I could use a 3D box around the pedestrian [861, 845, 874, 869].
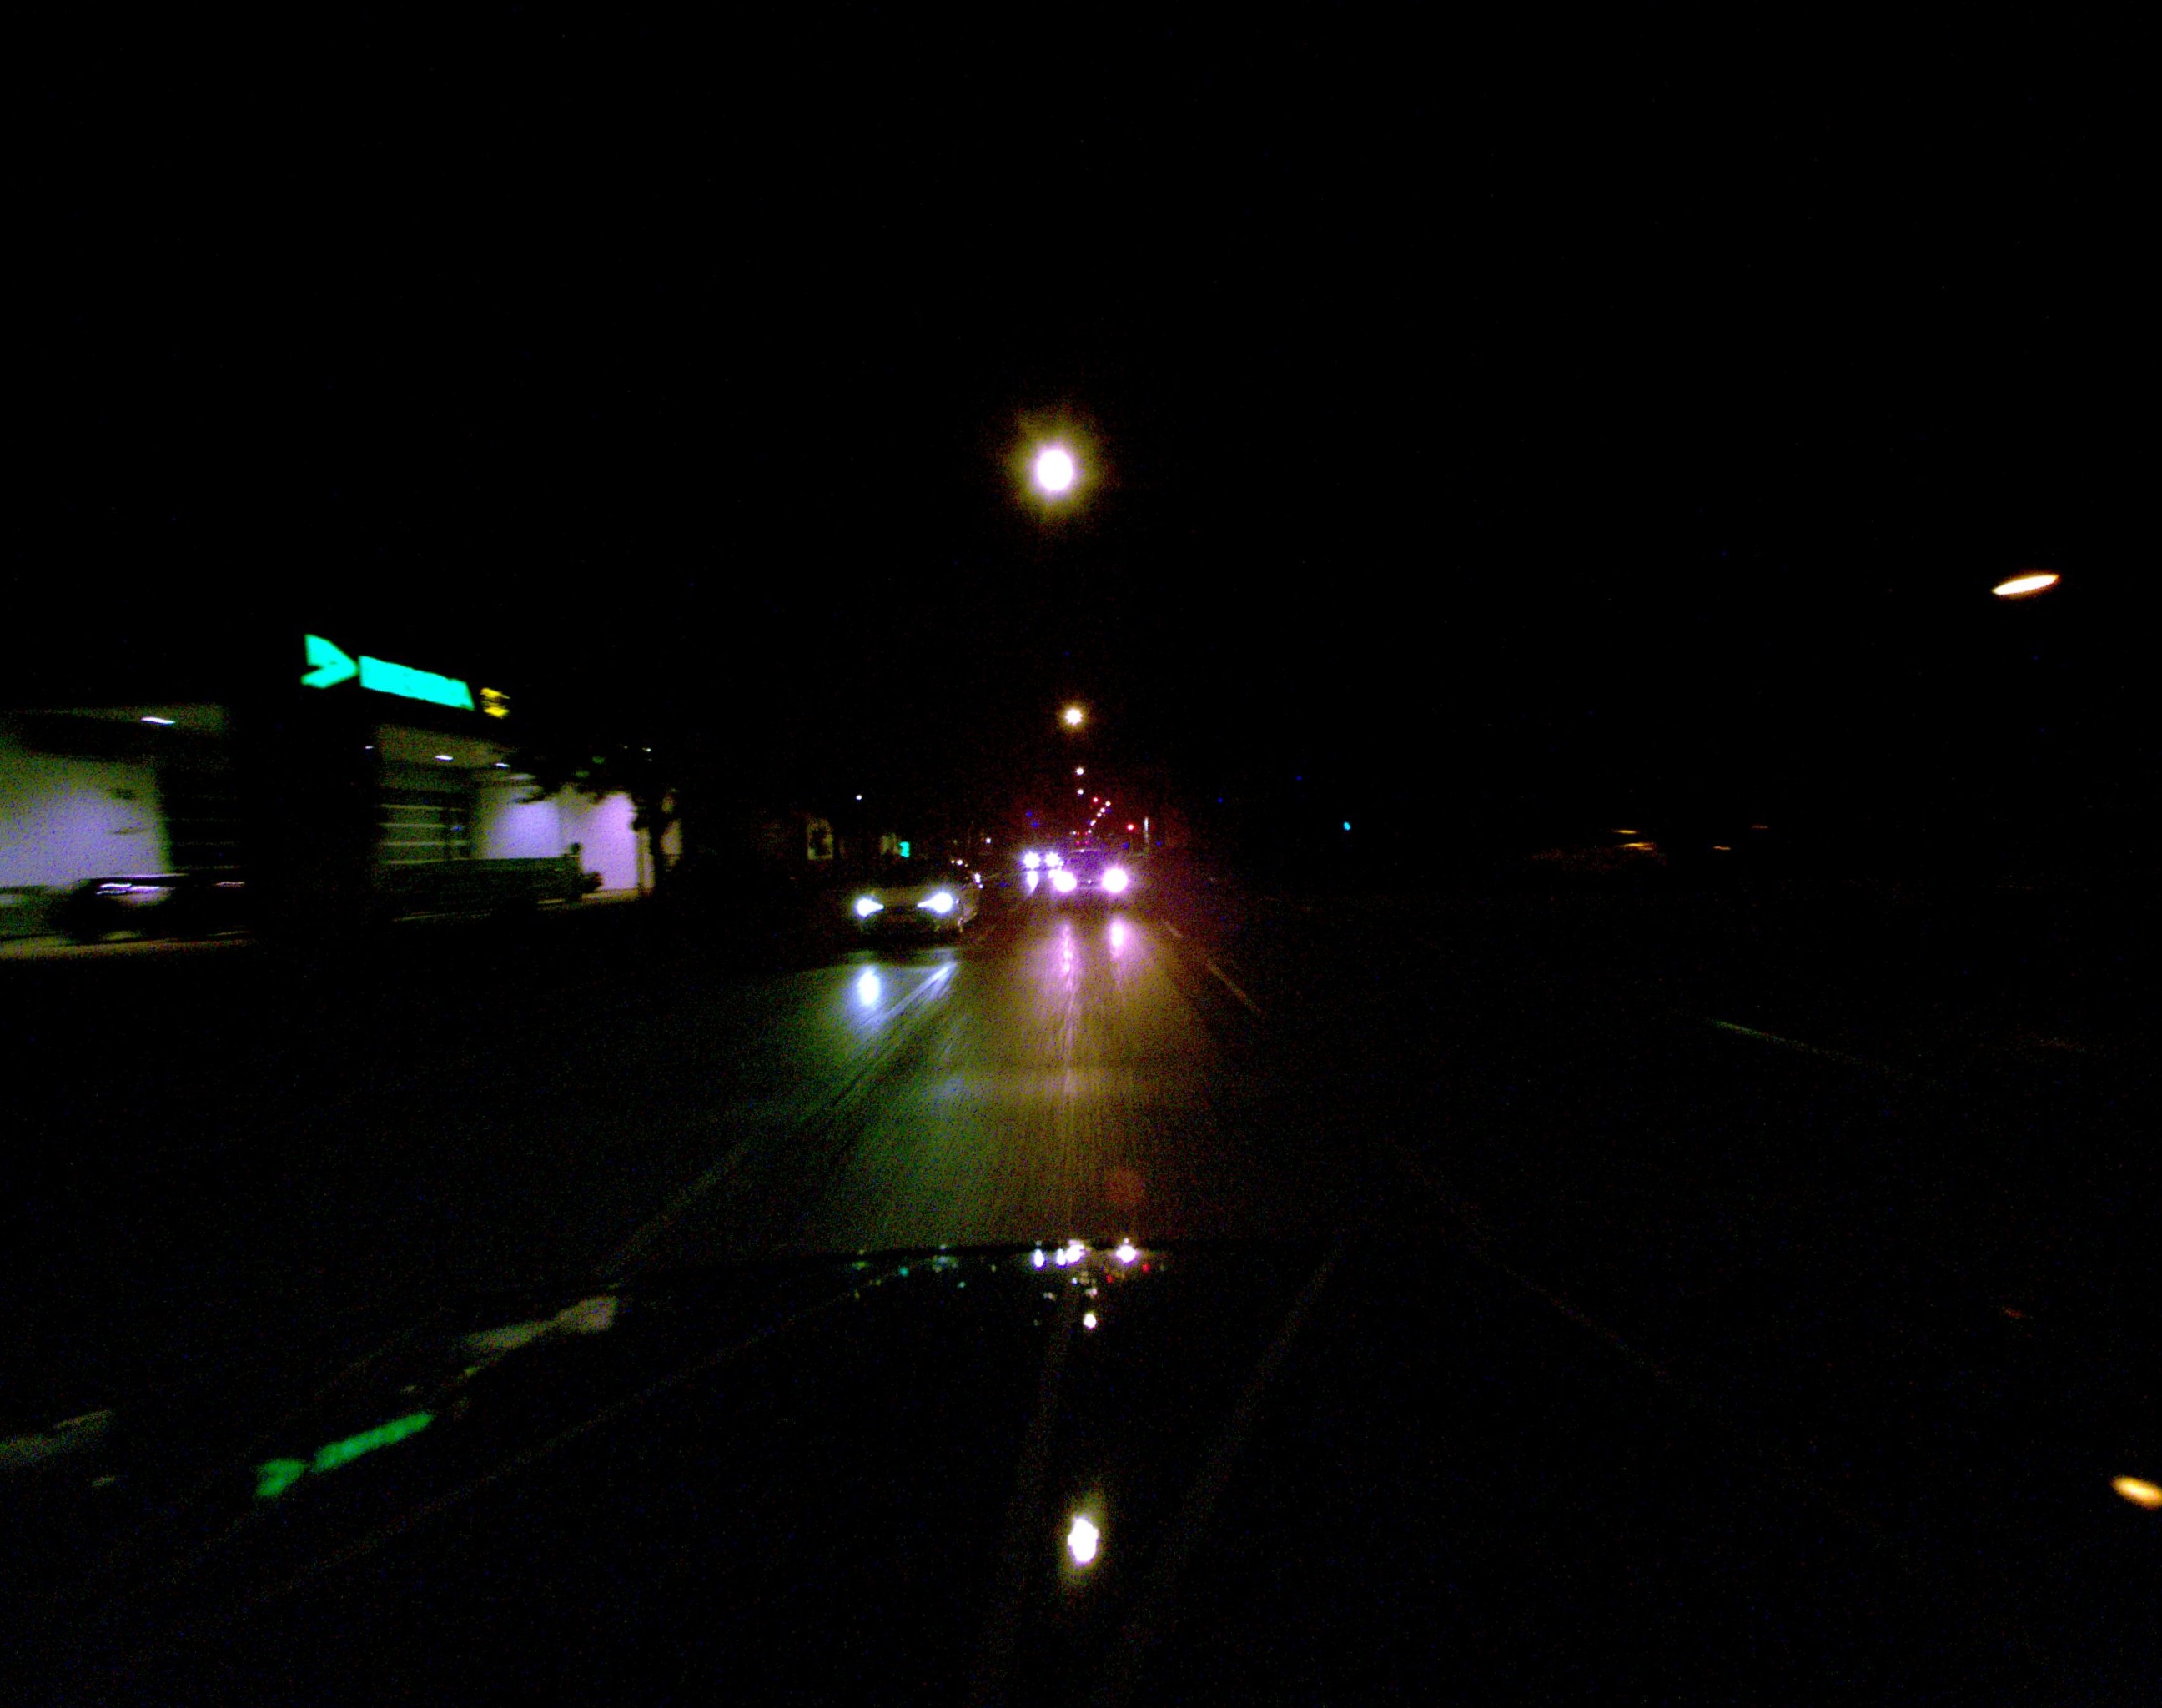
[{"bbox_3d":[-16.520,0.228,58.713,0.676,1.806,0.906,-1,2,1],"label":"pedestrian"}]

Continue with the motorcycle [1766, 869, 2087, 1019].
[{"bbox_3d":[8.011,0.770,7.371,0.574,1.173,2.029,-2,1,-17],"label":"motorcycle"}]

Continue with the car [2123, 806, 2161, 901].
[{"bbox_3d":[22.367,-0.079,13.663,4.349,1.745,1.956,-3,3,2],"label":"car"}]

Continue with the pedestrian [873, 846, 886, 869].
[{"bbox_3d":[-15.614,0.259,58.840,0.721,1.778,0.969,-1,2,1],"label":"pedestrian"}]

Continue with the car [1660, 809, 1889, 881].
[{"bbox_3d":[20.566,-0.260,22.685,5.001,1.879,2.028,-2,1,-1],"label":"car"}]

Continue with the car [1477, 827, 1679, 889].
[{"bbox_3d":[14.517,0.074,22.383,4.672,1.620,2.003,-2,2,-1],"label":"car"}]

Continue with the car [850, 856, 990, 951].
[{"bbox_3d":[-3.003,0.849,15.164,1.729,1.422,4.497,-3,1,1],"label":"car"}]

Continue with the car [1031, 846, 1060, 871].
[{"bbox_3d":[-2.350,0.249,51.389,1.729,1.455,3.999,-4,2,0],"label":"car"}]

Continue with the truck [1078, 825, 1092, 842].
[{"bbox_3d":[1.170,-6.053,224.506,3.517,4.558,9.037,-4,2,0],"label":"truck"}]

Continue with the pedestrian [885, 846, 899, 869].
[{"bbox_3d":[-14.653,0.256,58.884,0.737,1.707,0.985,-1,2,1],"label":"pedestrian"}]

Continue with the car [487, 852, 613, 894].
[{"bbox_3d":[-22.314,0.780,32.061,3.961,1.557,1.714,-2,2,-3],"label":"car"}]

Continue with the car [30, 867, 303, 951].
[{"bbox_3d":[-21.872,1.226,18.471,1.731,1.587,3.998,-2,2,-1],"label":"car"}]

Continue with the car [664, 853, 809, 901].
[{"bbox_3d":[-11.772,0.767,26.162,4.092,1.446,1.786,-1,2,0],"label":"car"}]

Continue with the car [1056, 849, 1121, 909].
[{"bbox_3d":[0.261,0.628,21.512,1.634,1.430,3.840,-2,1,2],"label":"car"}]
